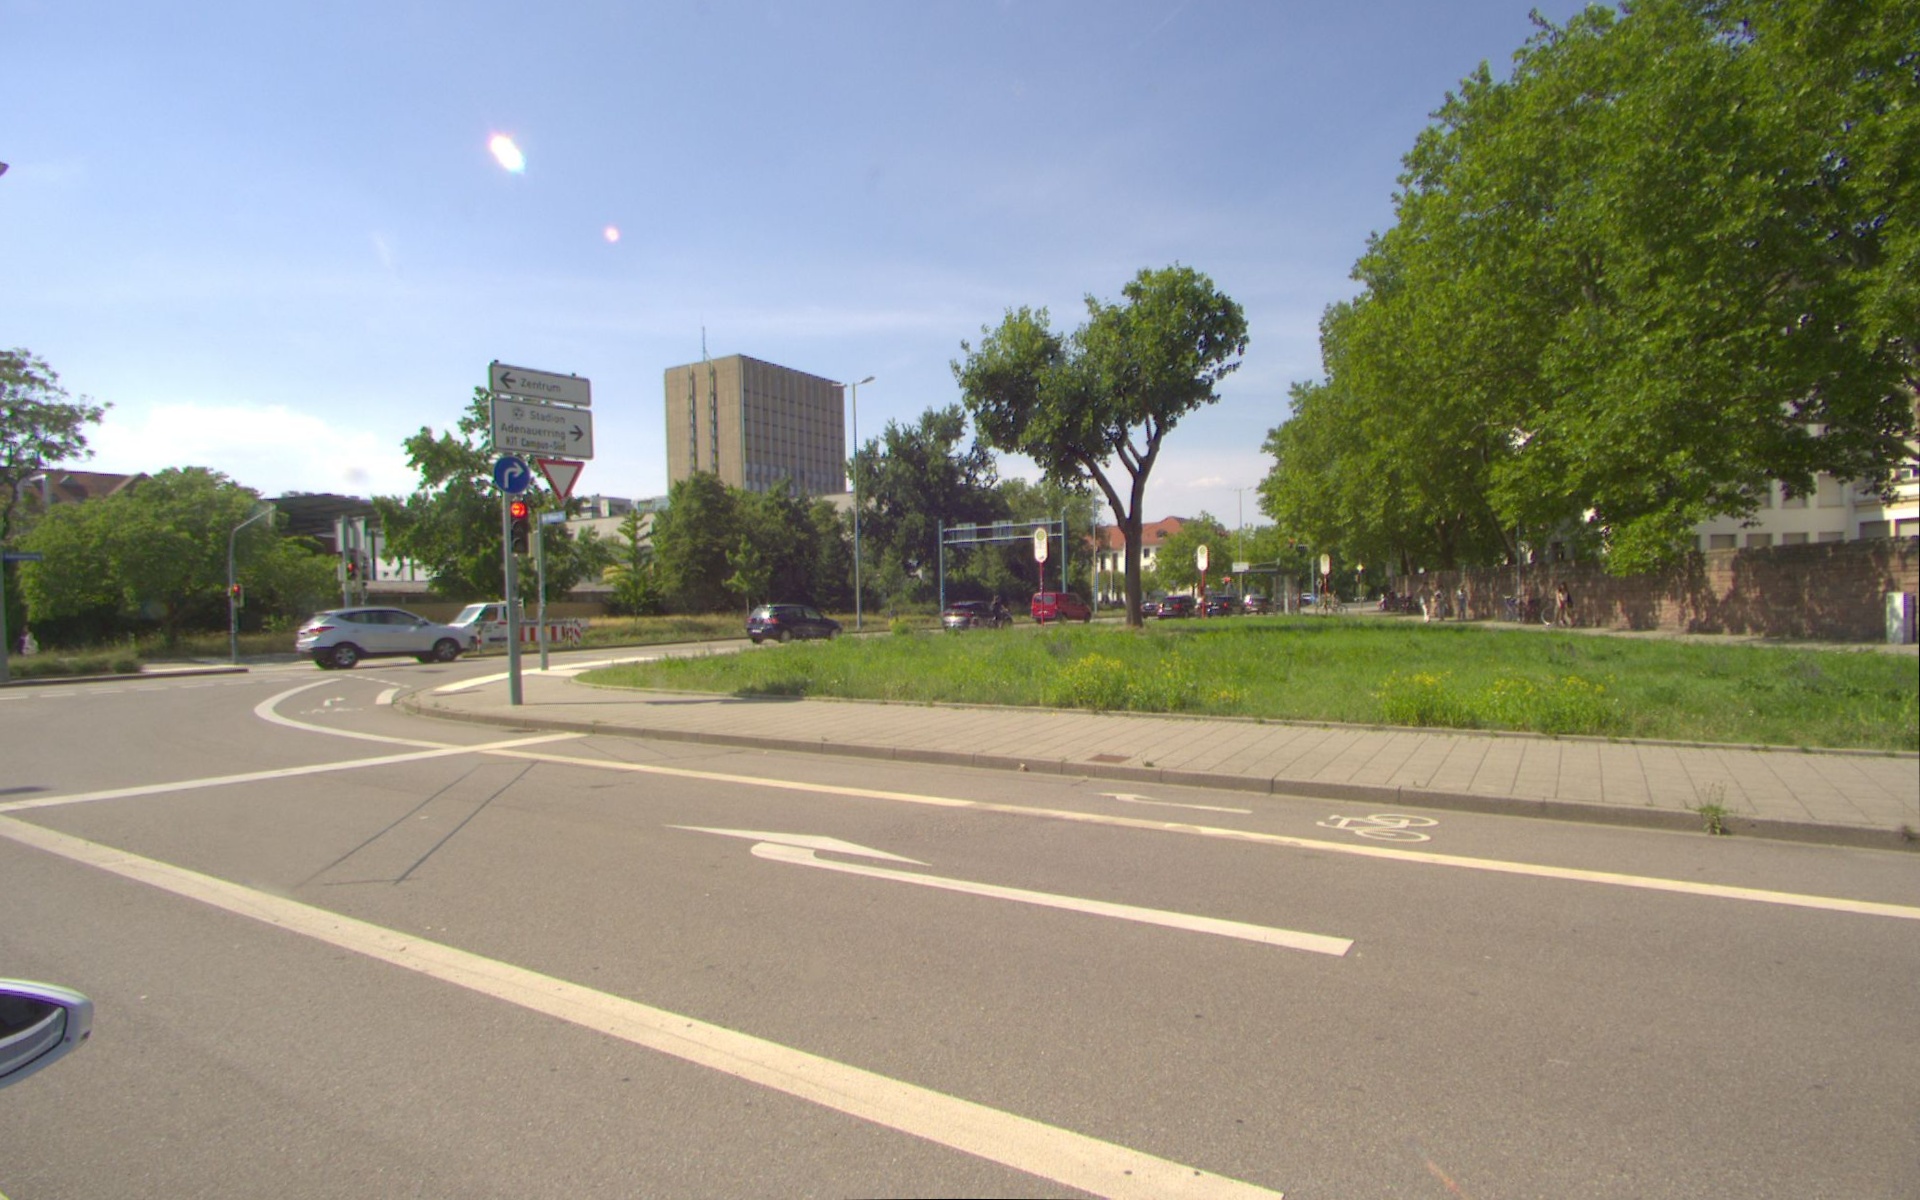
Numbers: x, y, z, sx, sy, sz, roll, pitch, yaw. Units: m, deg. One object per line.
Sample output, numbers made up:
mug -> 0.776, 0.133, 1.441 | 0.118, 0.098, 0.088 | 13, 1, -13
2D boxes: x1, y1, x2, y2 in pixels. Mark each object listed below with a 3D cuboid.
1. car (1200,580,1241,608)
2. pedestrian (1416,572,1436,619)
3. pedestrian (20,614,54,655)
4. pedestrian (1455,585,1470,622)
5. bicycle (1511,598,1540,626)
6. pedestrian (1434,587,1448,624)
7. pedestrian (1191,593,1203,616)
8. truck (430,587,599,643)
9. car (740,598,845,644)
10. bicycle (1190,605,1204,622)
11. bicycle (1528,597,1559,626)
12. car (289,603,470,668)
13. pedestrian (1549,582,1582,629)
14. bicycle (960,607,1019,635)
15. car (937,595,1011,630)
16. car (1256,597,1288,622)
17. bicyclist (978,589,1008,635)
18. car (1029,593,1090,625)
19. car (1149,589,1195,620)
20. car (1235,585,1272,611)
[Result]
car -> 19.593, -0.443, 75.305 | 1.970, 2.041, 3.980 | -1, 1, 30
pedestrian -> 20.377, -0.205, 43.792 | 0.513, 2.040, 0.596 | -2, 1, -9
pedestrian -> -36.406, 1.354, 39.505 | 0.683, 1.600, 0.809 | -1, 1, 34
pedestrian -> 22.171, 0.156, 44.165 | 0.515, 1.599, 0.701 | -1, 1, 23
bicycle -> 21.751, 0.439, 38.532 | 0.439, 1.047, 1.447 | -1, 1, 6
pedestrian -> 21.328, 0.235, 44.380 | 0.515, 1.599, 0.701 | -1, 1, 23
pedestrian -> 15.359, 0.273, 64.957 | 0.552, 1.458, 0.729 | 0, 1, 30
truck -> -20.562, 0.626, 46.634 | 2.379, 2.387, 7.007 | -1, 1, 33
car -> -6.329, 0.755, 38.292 | 1.564, 1.612, 3.972 | -1, 1, 37
bicycle -> 15.377, 0.855, 64.975 | 0.552, 1.066, 1.318 | -1, 1, 30
bicycle -> 21.580, 0.420, 37.038 | 0.439, 1.047, 1.447 | -1, 1, 6
car -> -16.607, 0.957, 28.787 | 1.693, 1.640, 4.178 | 0, 1, 44
pedestrian -> 20.551, 0.176, 34.001 | 0.493, 1.569, 0.913 | -1, 1, -4
bicycle -> 1.369, 0.978, 45.411 | 0.838, 1.233, 3.462 | -1, -2, 37
car -> 0.712, 0.582, 48.625 | 1.564, 1.612, 3.972 | -1, 1, 37
car -> 27.492, 0.844, 88.152 | 1.970, 2.039, 3.984 | -1, -2, 29
bicyclist -> 1.522, 0.574, 45.643 | 0.769, 2.039, 1.265 | -1, -2, 38
car -> 6.133, 0.513, 61.560 | 1.950, 1.821, 4.587 | -1, 1, 31
car -> 14.493, 0.296, 68.309 | 1.970, 2.041, 3.980 | -1, 1, 30
car -> 24.183, -0.208, 82.419 | 1.970, 2.041, 3.980 | -1, 1, 30
